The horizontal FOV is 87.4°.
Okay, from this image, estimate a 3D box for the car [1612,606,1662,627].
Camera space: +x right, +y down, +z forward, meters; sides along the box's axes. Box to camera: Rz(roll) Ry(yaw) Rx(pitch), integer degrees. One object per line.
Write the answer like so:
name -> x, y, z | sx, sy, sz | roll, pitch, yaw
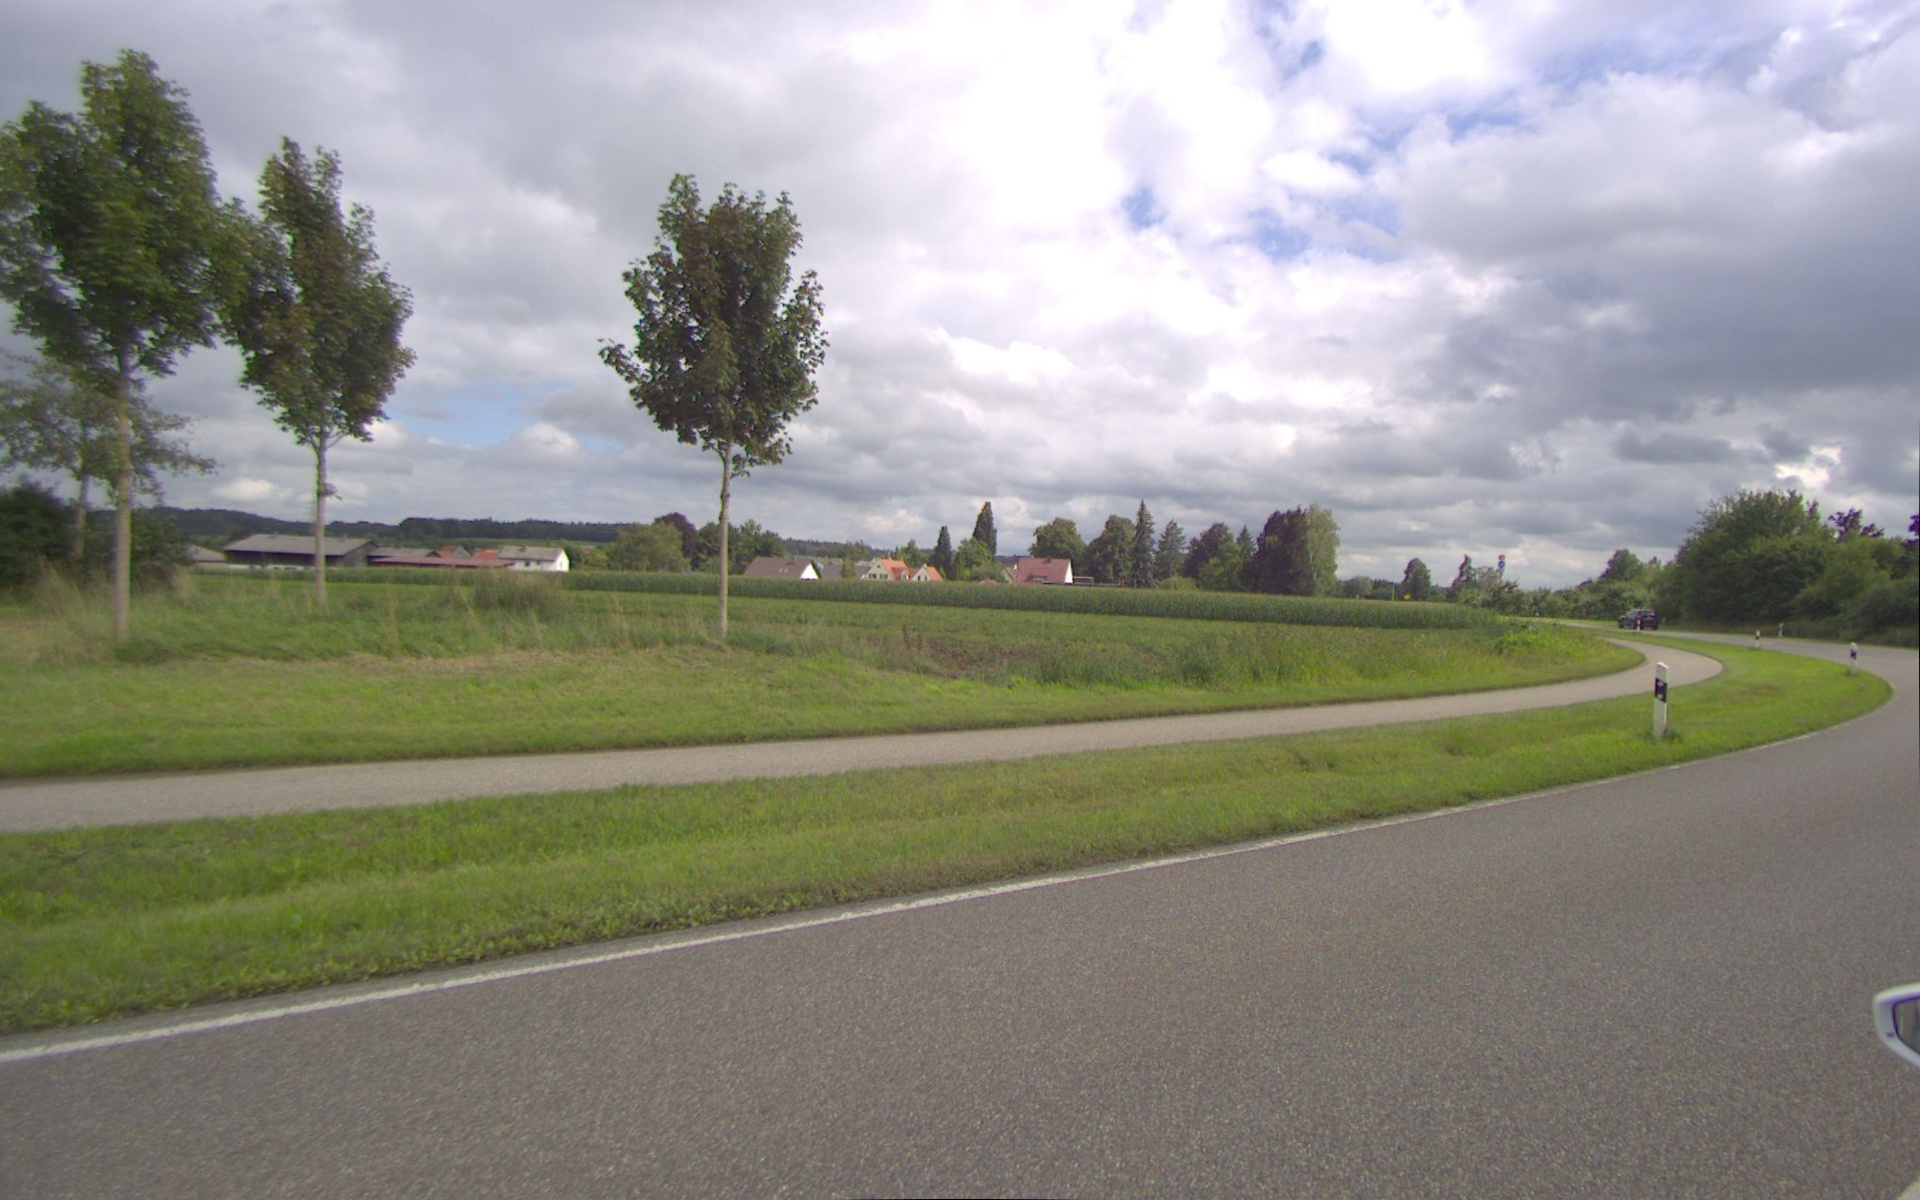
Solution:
car -> 57.240, 1.382, 85.006 | 1.874, 1.689, 4.002 | 2, 1, 9
